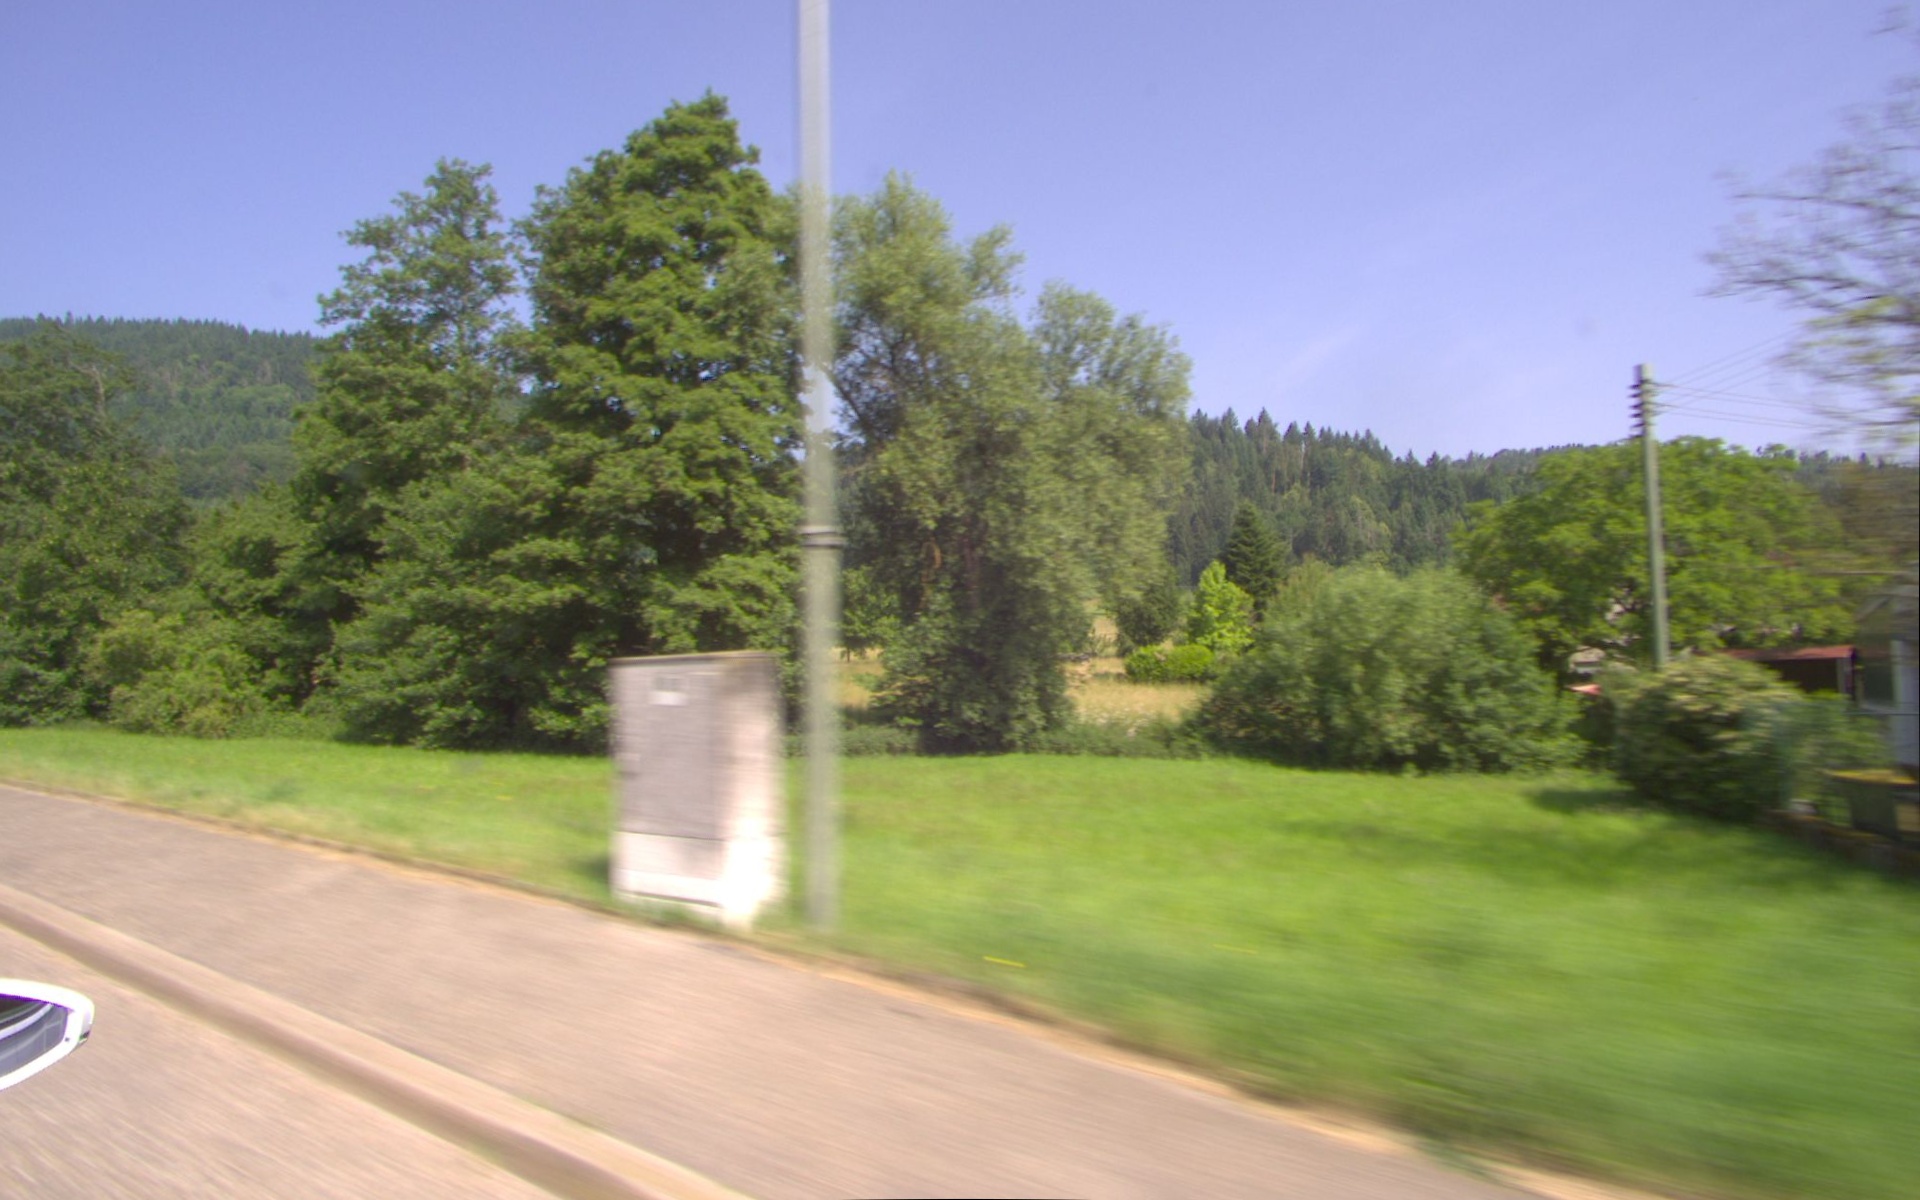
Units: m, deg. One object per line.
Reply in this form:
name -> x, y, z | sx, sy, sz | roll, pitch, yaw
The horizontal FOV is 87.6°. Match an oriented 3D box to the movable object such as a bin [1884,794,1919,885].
movable object such as a bin -> 10.328, 2.555, 10.658 | 0.577, 0.910, 0.419 | -2, -5, 25

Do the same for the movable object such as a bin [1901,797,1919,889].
movable object such as a bin -> 10.146, 2.513, 10.268 | 0.577, 0.910, 0.419 | -2, -5, 25
